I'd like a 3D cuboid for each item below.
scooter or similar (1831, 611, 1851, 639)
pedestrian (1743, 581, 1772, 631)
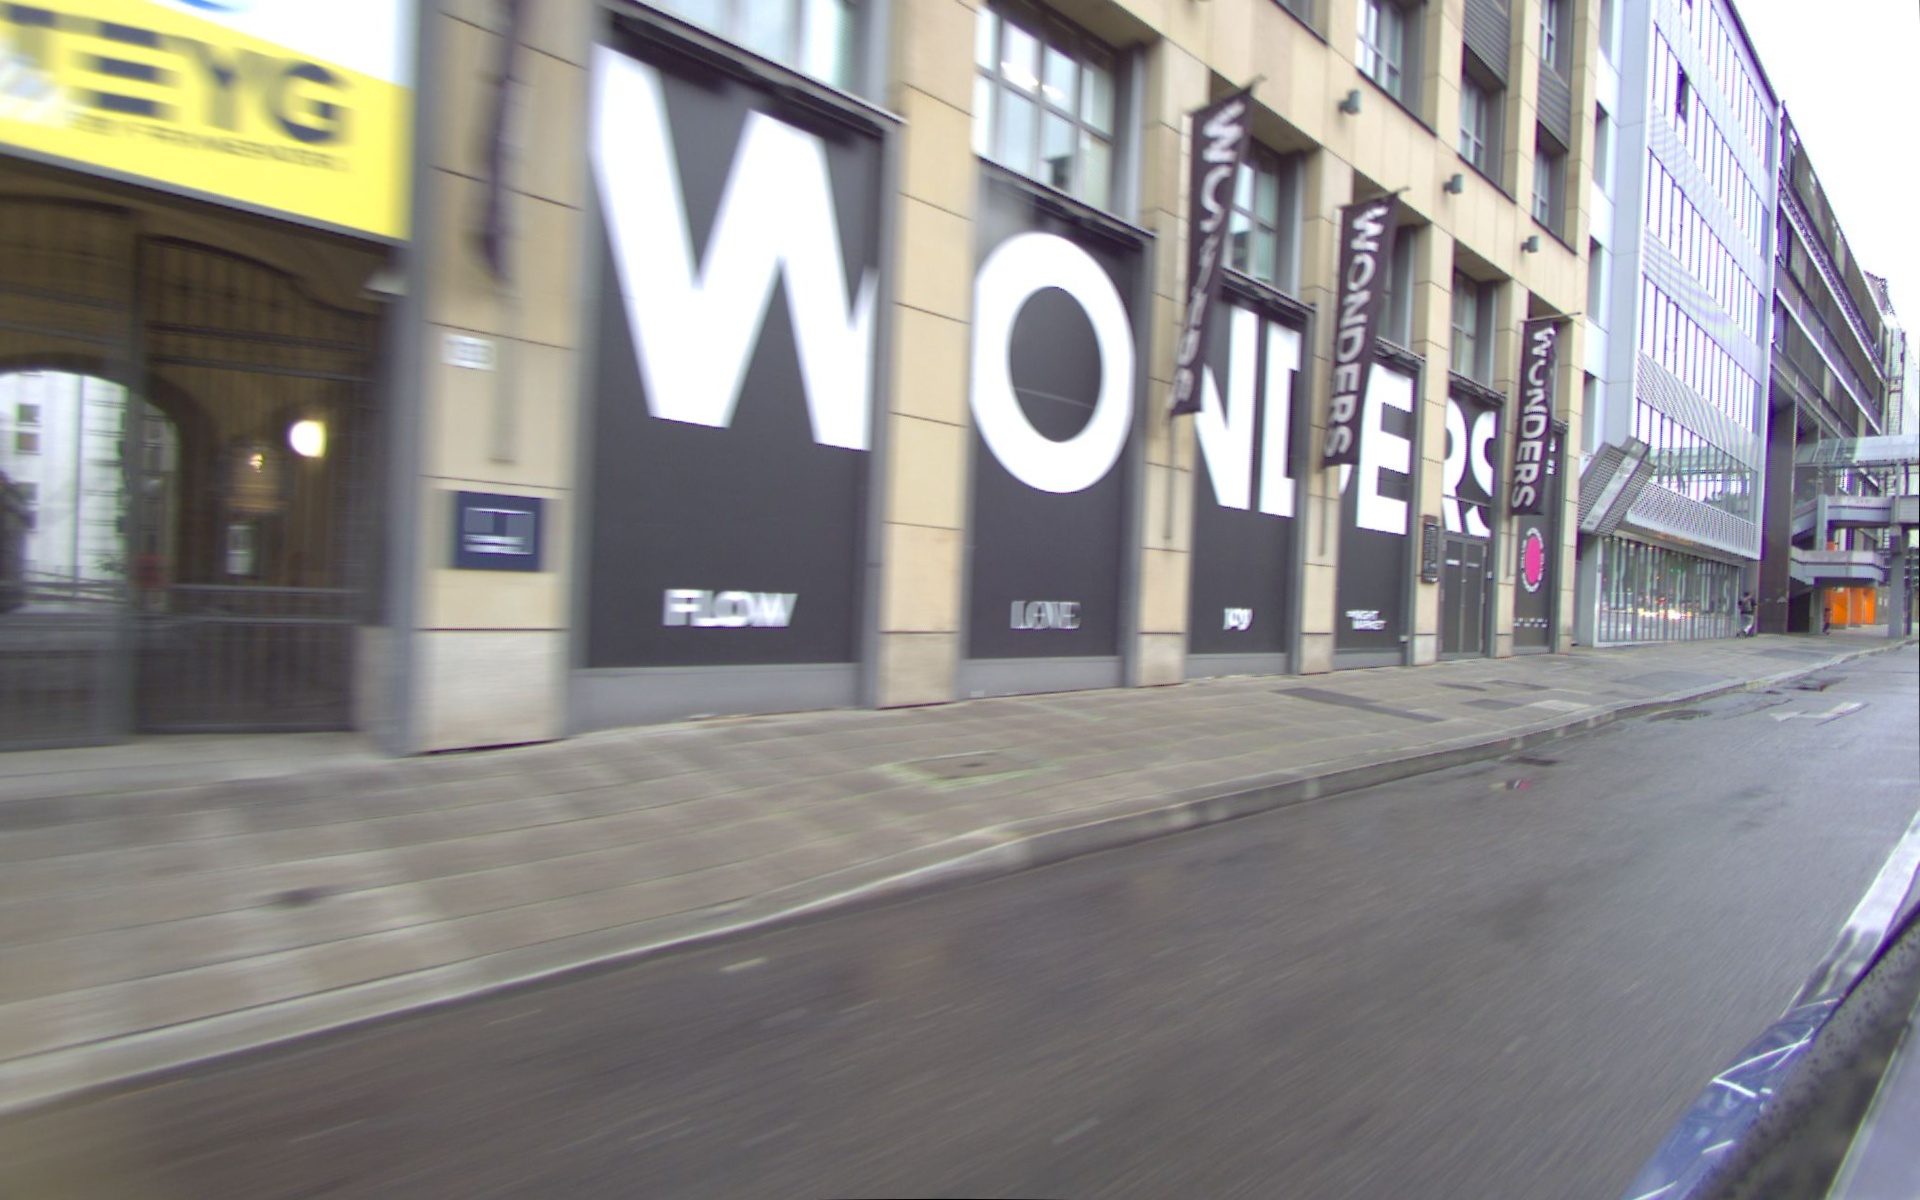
[{"bbox_3d":[41.183,1.166,47.322,0.468,1.289,1.293,1,0,30],"label":"scooter or similar"},{"bbox_3d":[30.121,0.207,38.233,0.751,1.855,0.728,1,0,-43],"label":"pedestrian"}]
